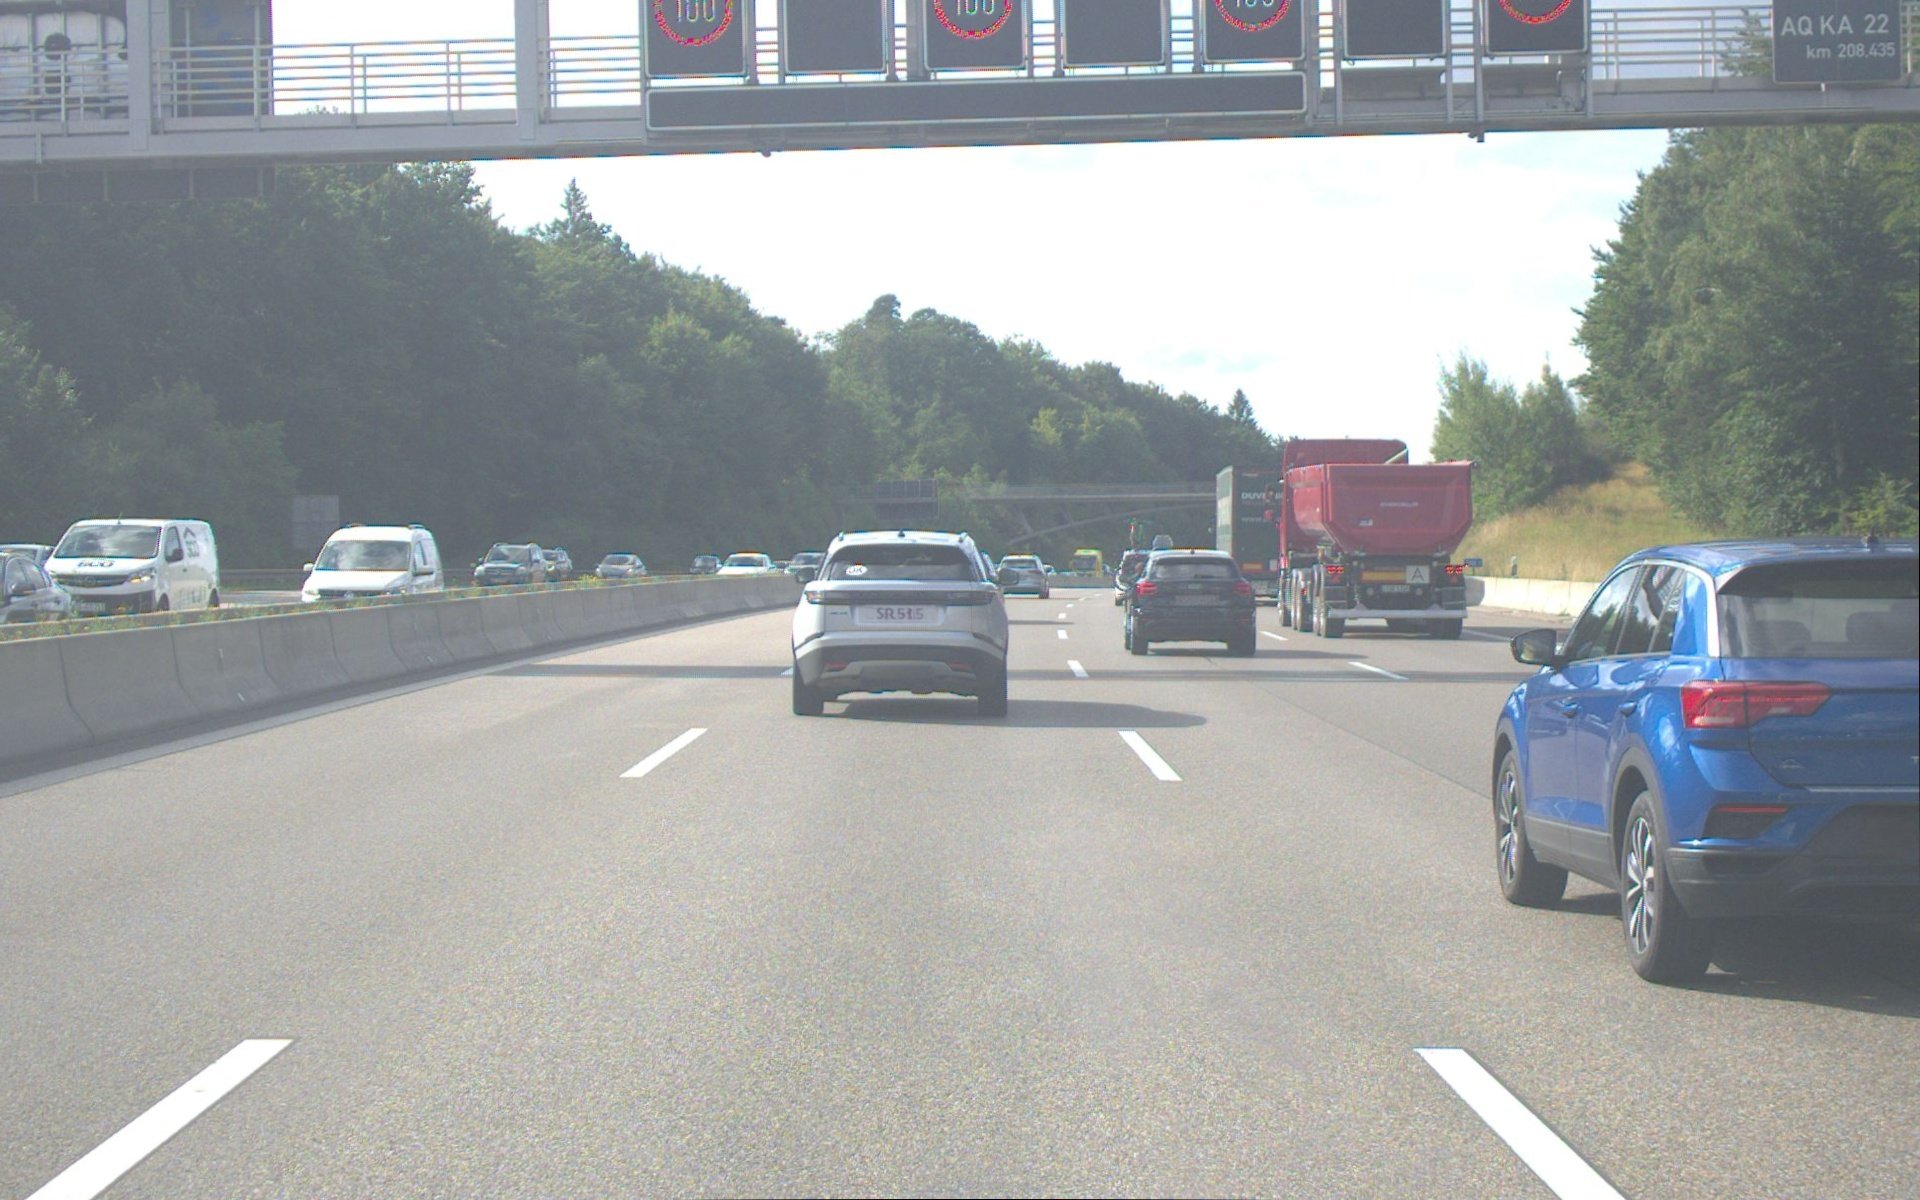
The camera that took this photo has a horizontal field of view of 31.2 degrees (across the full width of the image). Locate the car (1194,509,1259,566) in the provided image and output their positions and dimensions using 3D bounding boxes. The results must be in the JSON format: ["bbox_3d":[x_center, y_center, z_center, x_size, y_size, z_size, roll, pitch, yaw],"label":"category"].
[{"bbox_3d":[8.827,-2.074,114.143,1.894,1.850,4.100,1,1,1],"label":"car"}]

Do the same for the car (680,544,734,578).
[{"bbox_3d":[-13.174,-2.039,179.390,1.929,1.710,4.421,1,1,8],"label":"car"}]

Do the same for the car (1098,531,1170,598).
[{"bbox_3d":[4.918,-1.028,97.792,1.894,1.850,4.100,1,1,1],"label":"car"}]

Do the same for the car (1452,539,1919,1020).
[{"bbox_3d":[3.138,0.582,13.158,1.773,1.525,4.458,0,0,-1],"label":"car"}]

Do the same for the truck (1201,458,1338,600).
[{"bbox_3d":[8.999,-2.059,101.204,3.118,3.921,10.411,1,1,0],"label":"truck"}]

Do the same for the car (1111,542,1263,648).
[{"bbox_3d":[3.266,-0.098,50.137,1.822,1.452,4.000,1,1,-2],"label":"car"}]

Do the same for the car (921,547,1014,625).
[{"bbox_3d":[0.186,-0.318,71.451,1.822,1.541,4.000,1,1,1],"label":"car"}]

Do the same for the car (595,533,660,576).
[{"bbox_3d":[-13.578,-1.854,140.626,1.928,1.710,4.422,1,1,4],"label":"car"}]

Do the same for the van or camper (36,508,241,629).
[{"bbox_3d":[-13.120,-0.525,55.211,1.862,1.844,5.155,1,1,2],"label":"van or camper"}]

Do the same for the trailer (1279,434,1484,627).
[{"bbox_3d":[7.561,-1.266,62.873,2.710,3.220,9.733,1,1,1],"label":"trailer"}]

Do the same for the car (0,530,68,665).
[{"bbox_3d":[-10.676,-0.045,35.577,1.793,1.370,4.549,1,1,-1],"label":"car"}]

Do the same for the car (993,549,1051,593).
[{"bbox_3d":[2.108,-0.968,115.711,1.822,1.452,4.000,1,0,3],"label":"car"}]

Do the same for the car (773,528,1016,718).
[{"bbox_3d":[-0.521,0.150,32.237,2.006,1.611,5.301,1,1,2],"label":"car"}]

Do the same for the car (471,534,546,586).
[{"bbox_3d":[-14.852,-1.331,113.337,1.666,1.634,4.479,1,1,3],"label":"car"}]

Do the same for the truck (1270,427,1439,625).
[{"bbox_3d":[7.677,-1.449,67.559,2.710,3.706,5.817,1,1,1],"label":"truck"}]

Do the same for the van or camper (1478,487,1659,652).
[{"bbox_3d":[8.889,-0.465,50.588,1.822,2.299,4.939,0,1,1],"label":"van or camper"}]

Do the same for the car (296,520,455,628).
[{"bbox_3d":[-9.375,-0.438,55.466,1.769,1.643,4.520,1,1,0],"label":"car"}]
